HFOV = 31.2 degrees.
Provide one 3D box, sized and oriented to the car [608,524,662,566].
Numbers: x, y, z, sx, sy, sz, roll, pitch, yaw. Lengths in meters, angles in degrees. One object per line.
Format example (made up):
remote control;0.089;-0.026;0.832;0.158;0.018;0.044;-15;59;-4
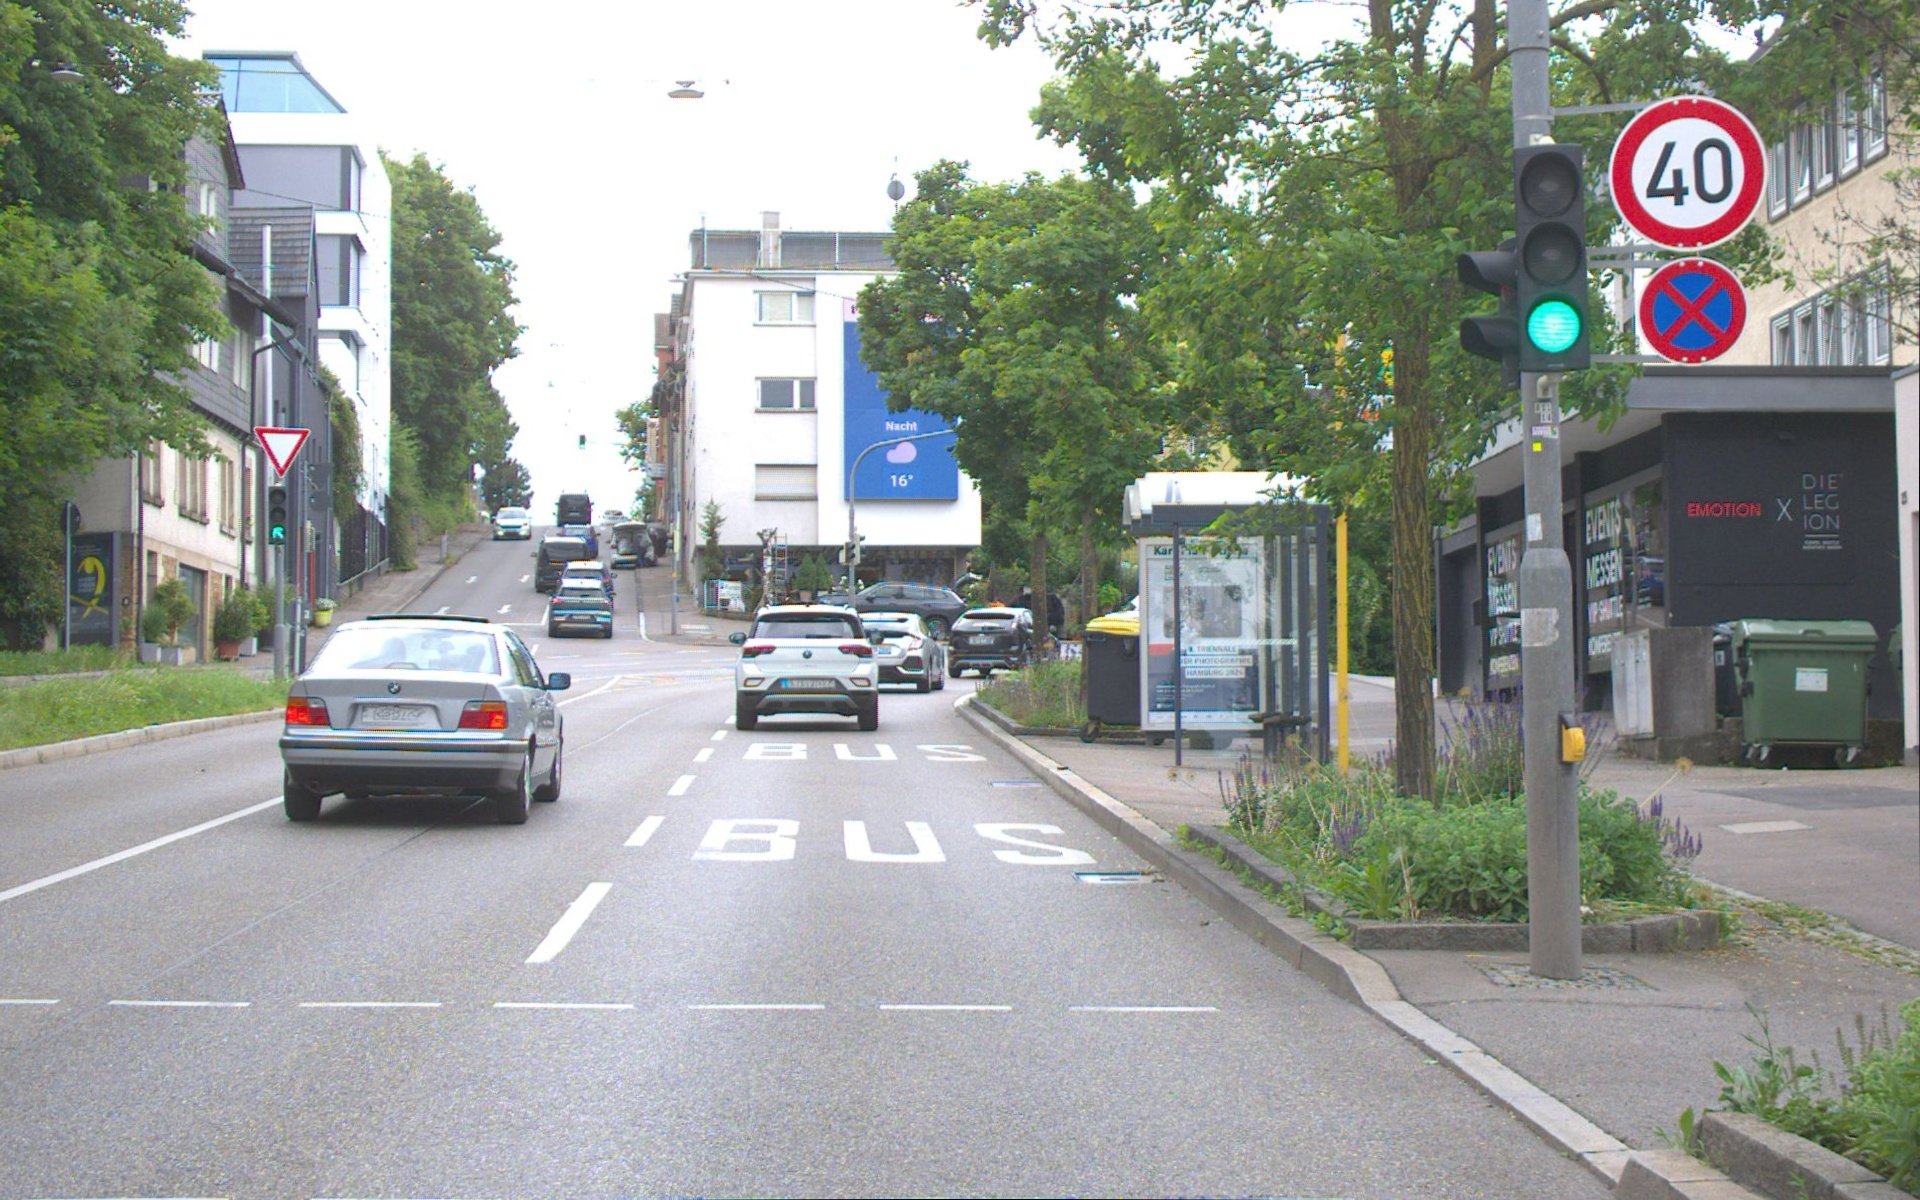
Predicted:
car;-13.128;-2.210;138.981;2.089;1.607;4.000;1;0;-4

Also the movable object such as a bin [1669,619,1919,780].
movable object such as a bin;8.340;0.934;33.840;1.888;1.447;4.000;1;0;0

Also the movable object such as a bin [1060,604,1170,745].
movable object such as a bin;1.669;0.795;37.276;1.085;1.476;1.537;1;0;-1

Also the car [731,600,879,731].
car;-1.963;0.788;43.531;1.779;1.574;4.000;0;0;-3

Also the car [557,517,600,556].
car;-16.411;-2.731;148.090;1.779;1.574;4.001;1;0;-6

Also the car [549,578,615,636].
car;-10.702;0.186;97.473;1.779;1.574;4.001;1;0;-6

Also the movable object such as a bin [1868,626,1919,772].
movable object such as a bin;9.750;0.968;33.789;1.340;1.404;1.127;1;0;0

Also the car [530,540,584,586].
car;-14.096;-1.285;120.318;1.779;1.574;4.001;0;0;-6

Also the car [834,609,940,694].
car;-1.343;0.907;61.864;1.779;1.405;4.000;1;0;-3

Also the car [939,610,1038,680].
car;0.643;0.953;73.984;1.794;1.405;3.999;1;0;5

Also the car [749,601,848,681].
car;-3.330;0.826;71.484;1.780;1.574;4.000;1;0;1

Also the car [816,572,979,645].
car;-1.919;0.259;104.382;4.687;1.706;2.319;5;3;-5

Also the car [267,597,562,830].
car;-3.771;0.737;24.318;1.706;1.459;4.001;1;0;-4

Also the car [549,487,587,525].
car;-21.753;-5.211;191.092;1.993;2.007;4.001;1;0;-6

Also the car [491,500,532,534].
car;-22.208;-4.120;170.316;1.882;1.562;4.390;0;3;-6
